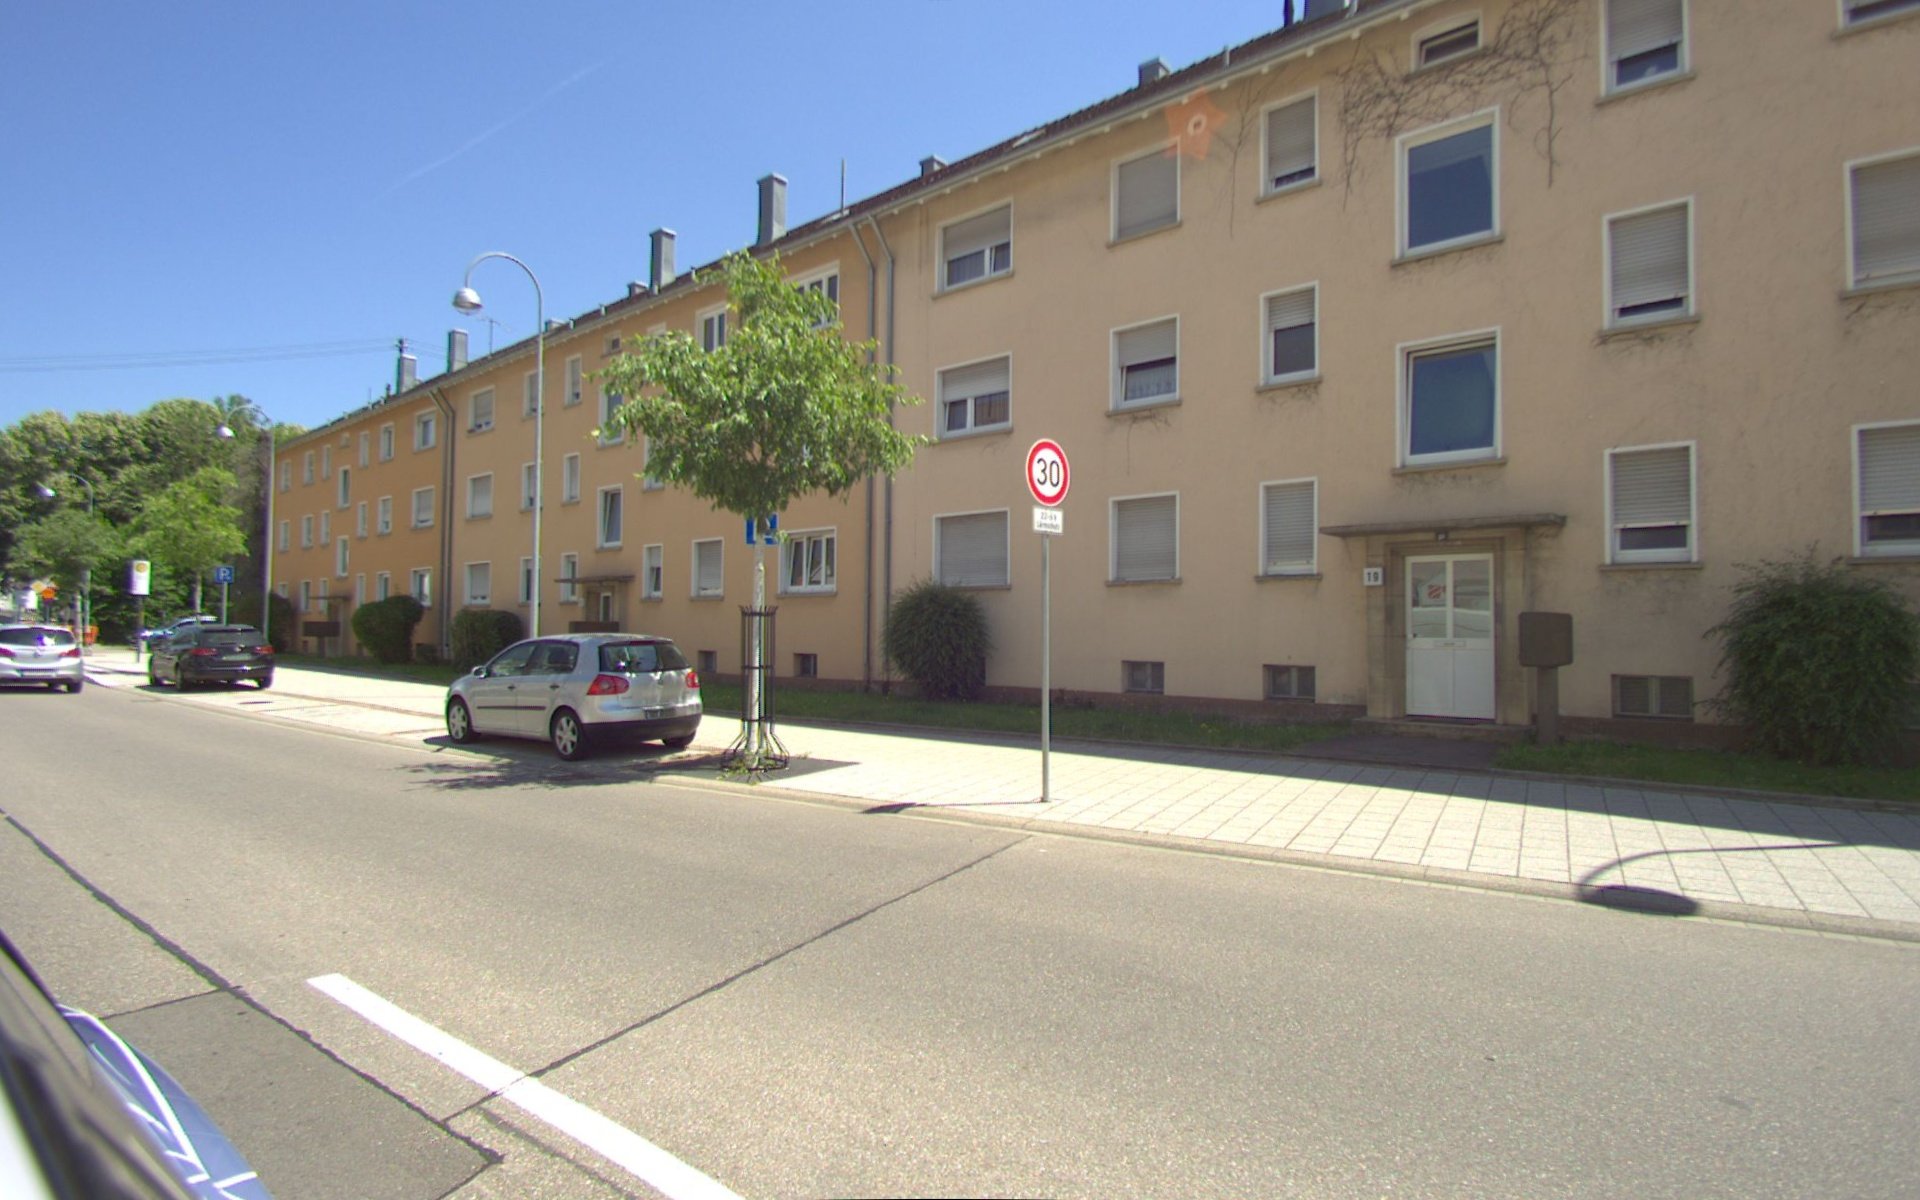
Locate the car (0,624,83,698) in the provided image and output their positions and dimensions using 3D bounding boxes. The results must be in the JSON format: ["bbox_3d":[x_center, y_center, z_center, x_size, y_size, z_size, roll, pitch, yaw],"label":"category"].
[{"bbox_3d":[-20.818,1.301,22.489,3.760,1.508,1.641,-1,-3,44],"label":"car"}]

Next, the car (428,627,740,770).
[{"bbox_3d":[-4.935,1.126,13.067,4.083,1.431,1.974,0,0,39],"label":"car"}]

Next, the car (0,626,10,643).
[{"bbox_3d":[-84.731,2.999,88.555,4.288,1.518,1.971,-2,-4,43],"label":"car"}]

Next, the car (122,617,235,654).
[{"bbox_3d":[-41.635,1.877,54.021,1.812,1.888,4.391,0,-2,31],"label":"car"}]

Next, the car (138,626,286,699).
[{"bbox_3d":[-17.712,1.396,23.886,4.559,1.518,1.838,-2,-1,40],"label":"car"}]
